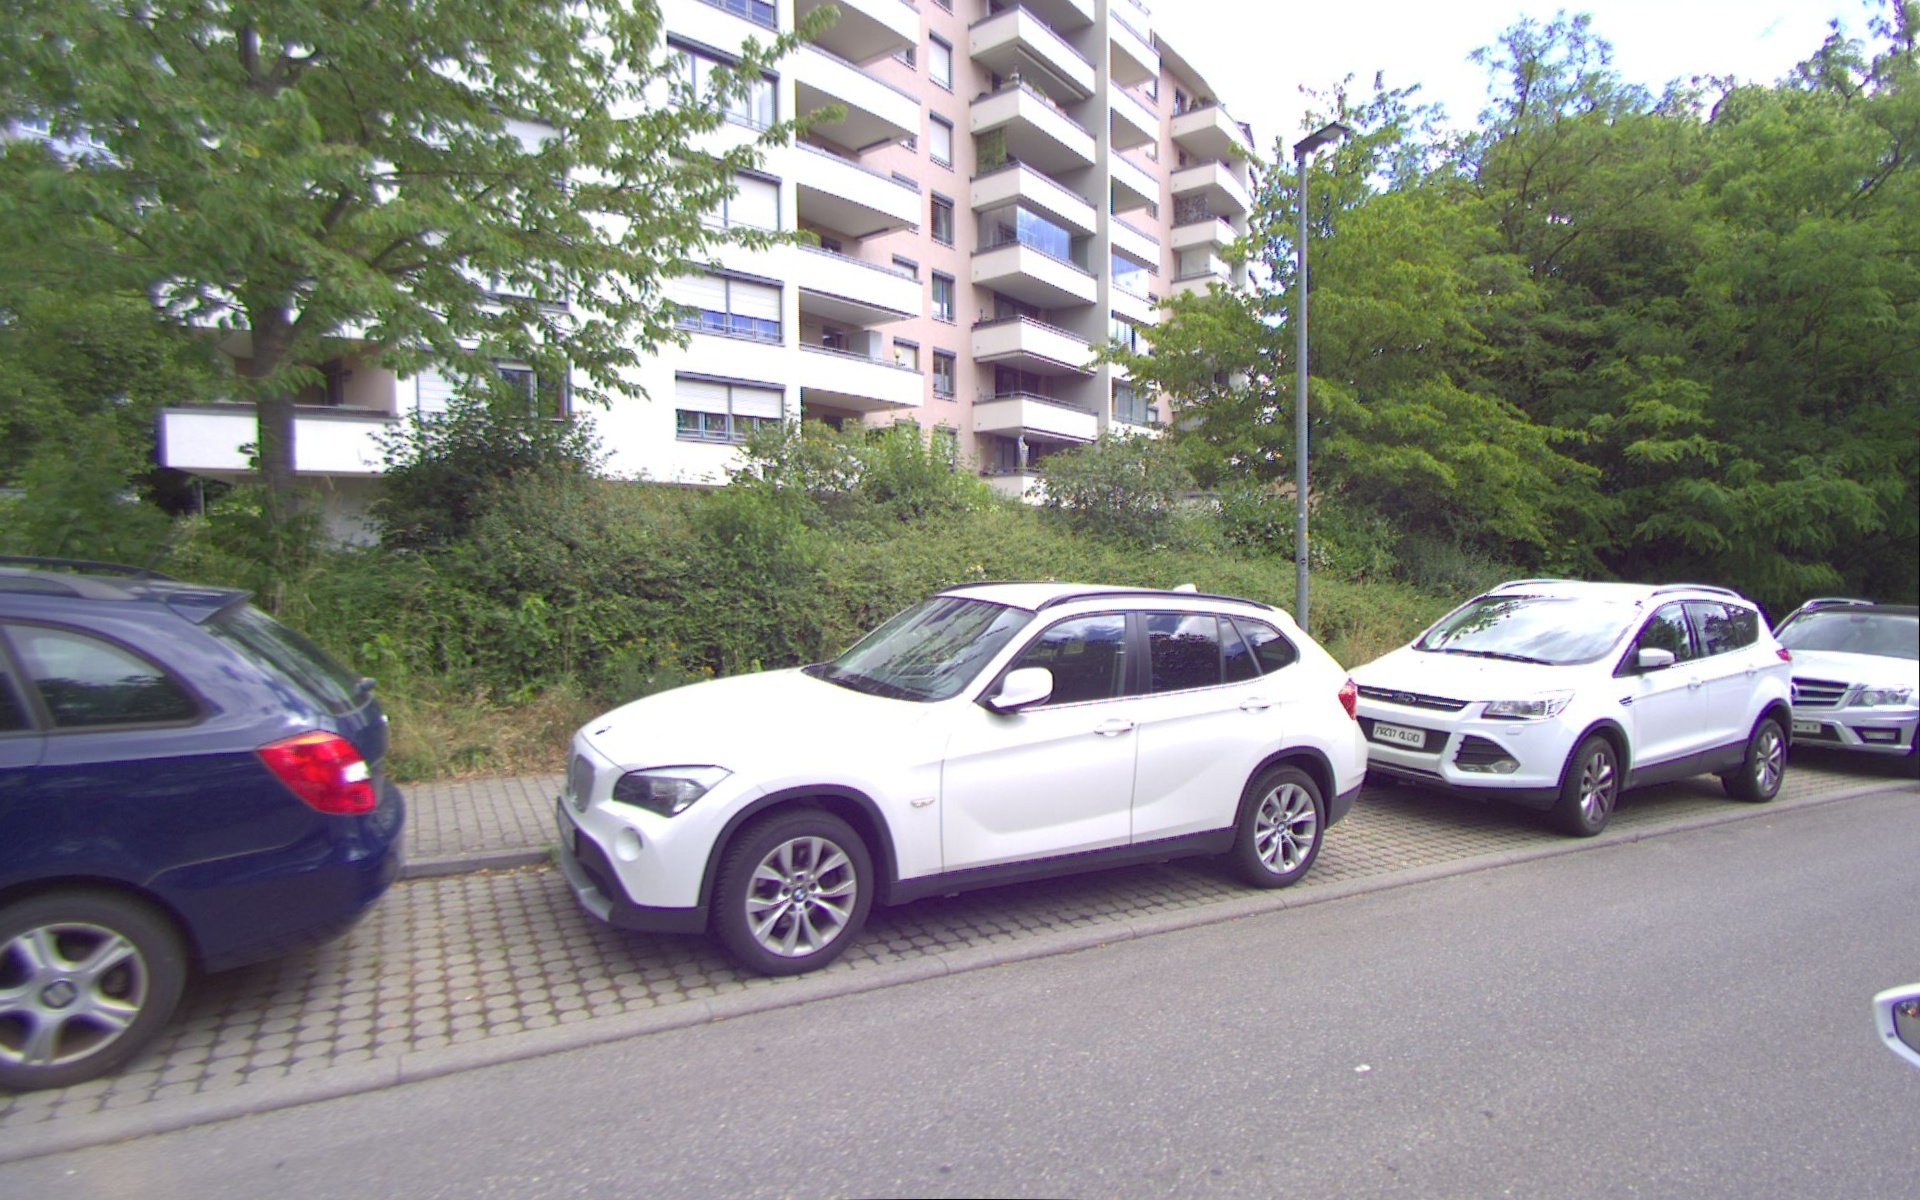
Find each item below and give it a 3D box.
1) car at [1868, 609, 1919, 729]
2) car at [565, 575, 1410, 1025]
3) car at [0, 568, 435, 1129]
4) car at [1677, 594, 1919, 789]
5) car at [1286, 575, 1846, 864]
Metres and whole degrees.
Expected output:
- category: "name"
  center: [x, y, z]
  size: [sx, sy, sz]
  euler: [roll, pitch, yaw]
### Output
- category: "car"
  center: [14.277, 0.918, 13.511]
  size: [4.402, 1.485, 1.682]
  euler: [0, 4, -29]
- category: "car"
  center: [0.247, 0.695, 5.305]
  size: [4.179, 1.532, 1.682]
  euler: [0, 4, -29]
- category: "car"
  center: [-3.827, 0.680, 3.096]
  size: [3.904, 1.508, 1.682]
  euler: [0, 4, -29]
- category: "car"
  center: [9.894, 0.813, 10.796]
  size: [4.424, 1.637, 1.791]
  euler: [0, 4, -29]
- category: "car"
  center: [4.861, 0.710, 7.946]
  size: [4.383, 1.687, 1.798]
  euler: [0, 4, -29]
